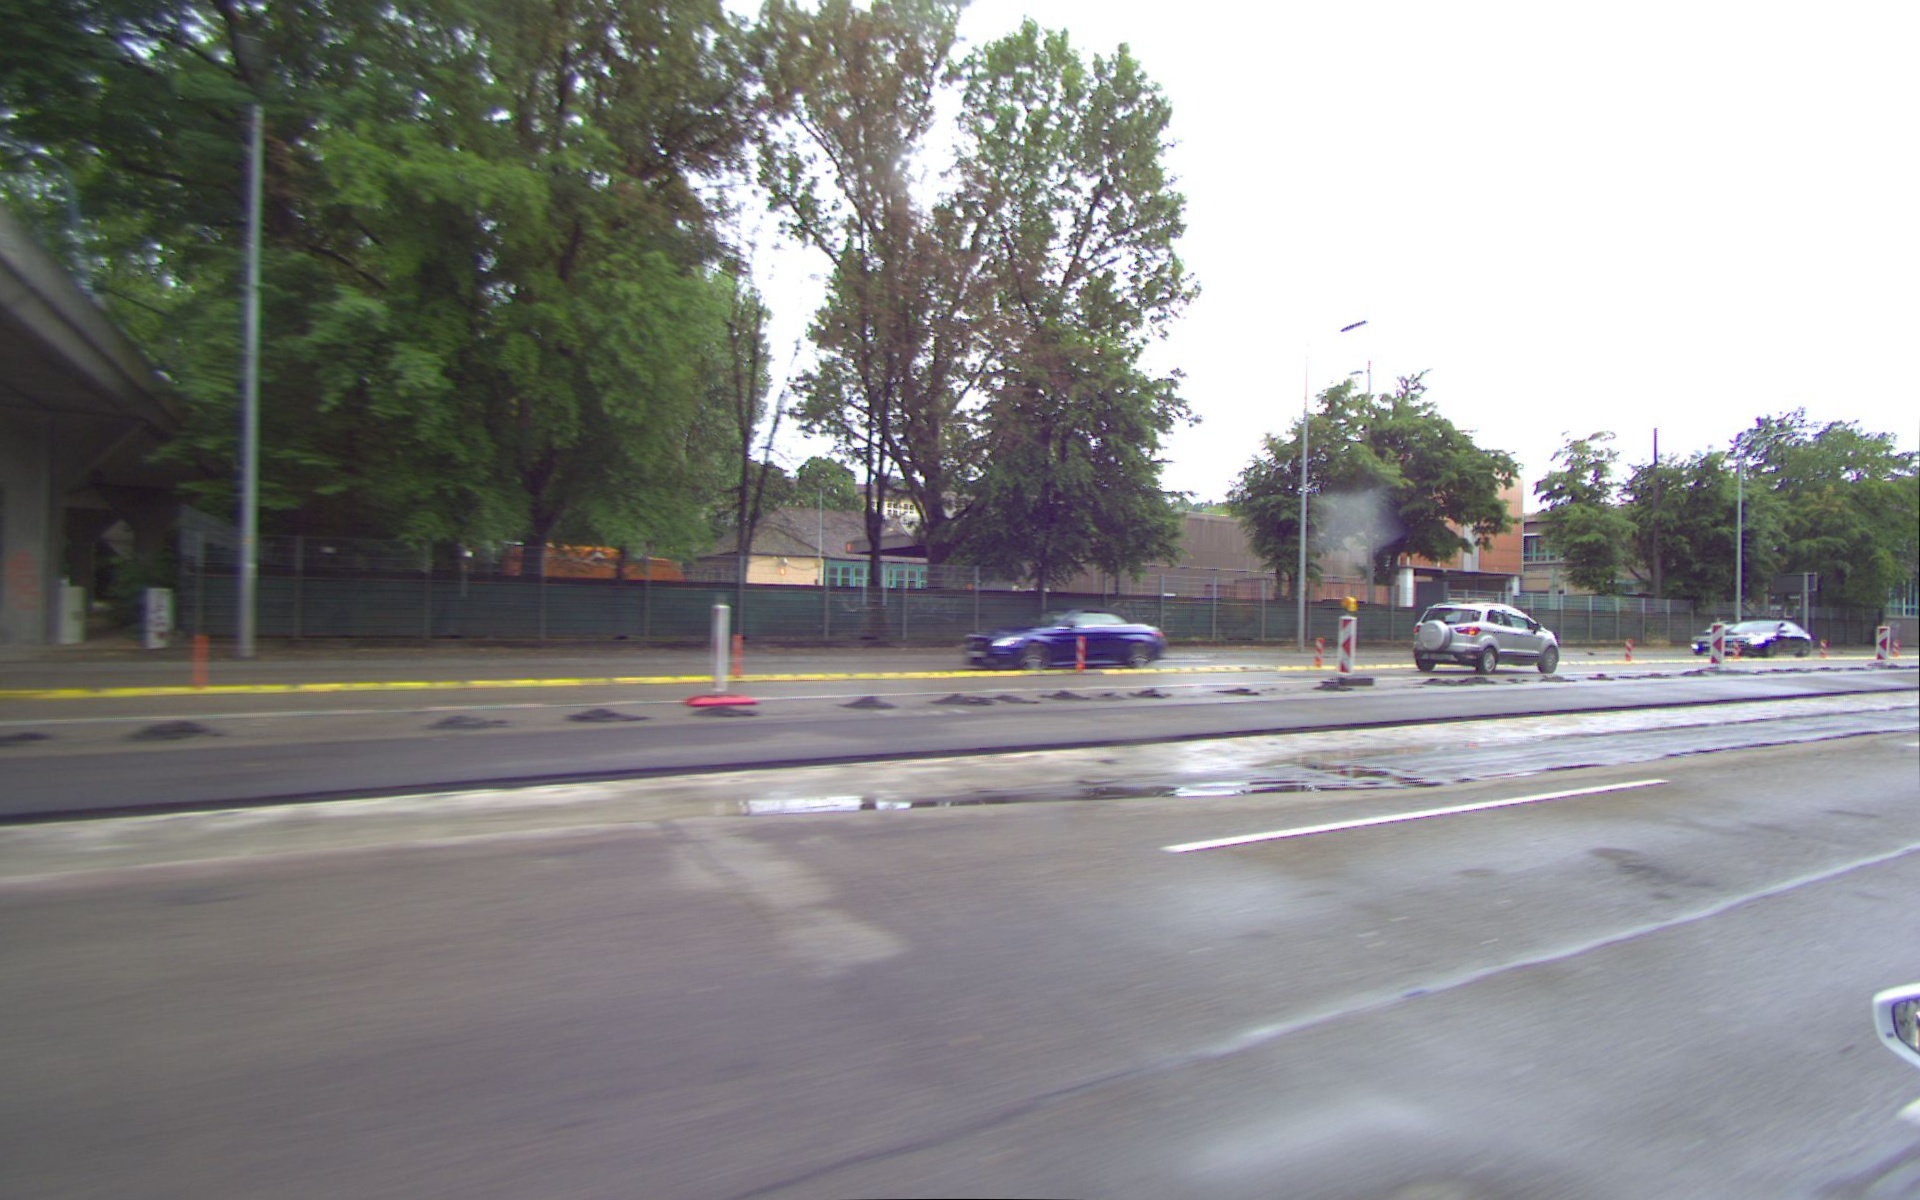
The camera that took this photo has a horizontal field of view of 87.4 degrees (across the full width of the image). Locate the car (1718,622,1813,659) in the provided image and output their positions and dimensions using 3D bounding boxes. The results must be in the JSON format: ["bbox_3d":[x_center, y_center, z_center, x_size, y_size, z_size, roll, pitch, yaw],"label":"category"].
[{"bbox_3d":[36.702,1.842,45.733,4.255,1.538,1.984,2,0,-31],"label":"car"}]

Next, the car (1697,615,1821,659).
[{"bbox_3d":[30.771,1.403,38.657,5.030,1.533,2.068,1,1,-30],"label":"car"}]

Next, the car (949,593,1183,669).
[{"bbox_3d":[2.343,0.664,21.779,4.829,1.479,1.983,2,0,-32],"label":"car"}]

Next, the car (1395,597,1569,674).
[{"bbox_3d":[12.445,0.831,23.908,3.954,1.670,1.845,2,0,-31],"label":"car"}]
